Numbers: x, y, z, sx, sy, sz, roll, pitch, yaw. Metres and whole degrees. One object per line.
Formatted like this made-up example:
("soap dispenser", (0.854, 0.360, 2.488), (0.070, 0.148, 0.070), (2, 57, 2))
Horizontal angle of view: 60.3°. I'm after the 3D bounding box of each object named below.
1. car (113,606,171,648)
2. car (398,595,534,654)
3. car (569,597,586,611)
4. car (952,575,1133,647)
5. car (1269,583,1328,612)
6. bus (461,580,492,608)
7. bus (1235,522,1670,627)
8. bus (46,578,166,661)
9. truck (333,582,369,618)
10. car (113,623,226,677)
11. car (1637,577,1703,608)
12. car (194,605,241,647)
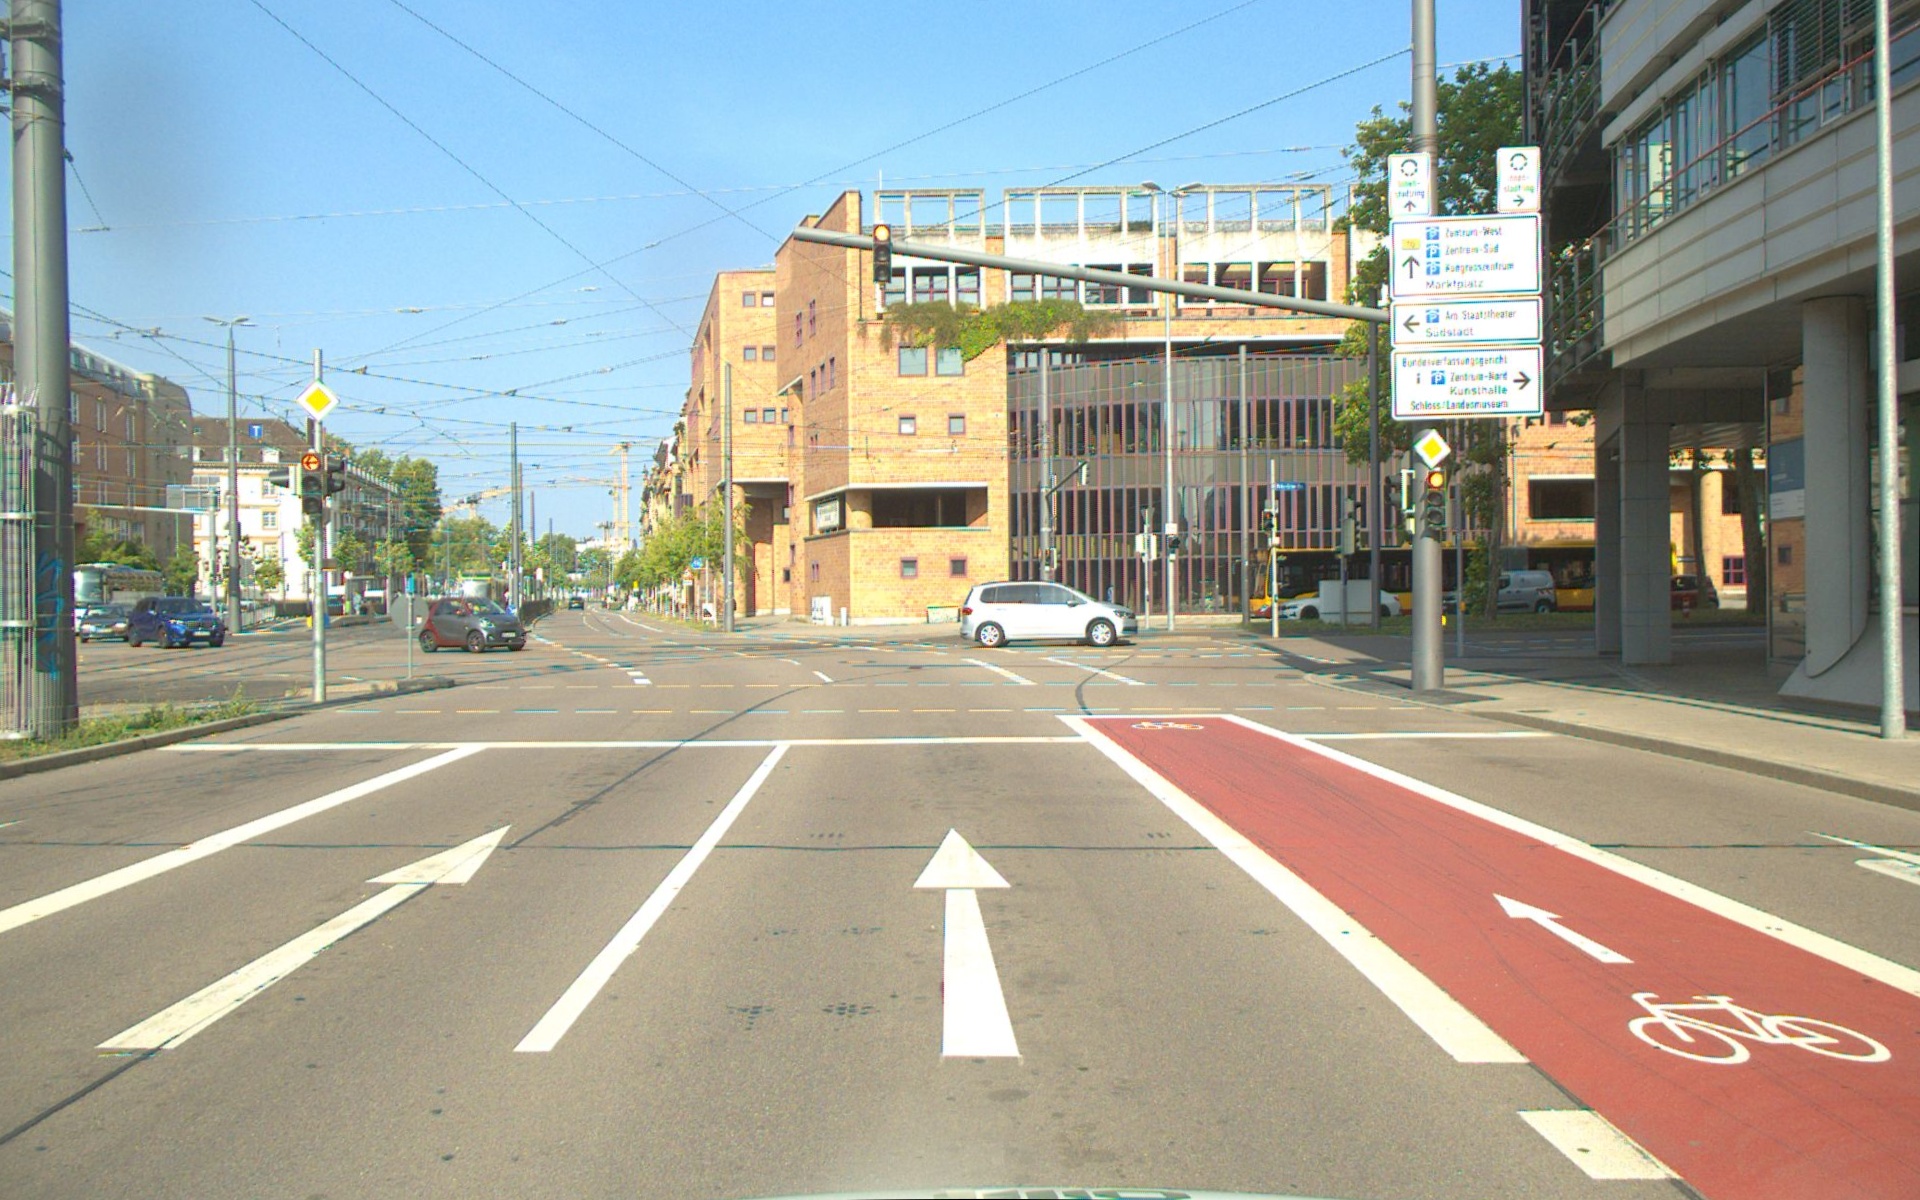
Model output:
("car", (-31.677, 1.063, 64.008), (1.970, 1.513, 4.183), (0, -1, -27))
("car", (-13.880, 0.712, 46.482), (3.524, 1.519, 1.699), (-2, -3, 30))
("car", (-46.545, 0.448, 201.197), (2.038, 1.569, 4.398), (-1, -1, -14))
("car", (2.068, 0.259, 40.915), (4.284, 1.663, 1.692), (-1, 2, 9))
("car", (12.331, -0.083, 60.320), (1.912, 0.975, 1.093), (1, -2, -3))
("bus", (-35.804, -0.463, 122.475), (1.959, 2.049, 3.987), (-1, 0, -13))
("bus", (19.683, -1.035, 65.948), (17.296, 3.877, 2.857), (-1, -1, -12))
("bus", (-44.202, 1.067, 86.039), (2.700, 3.990, 12.171), (-1, -1, -14))
("truck", (-45.951, -0.001, 124.896), (1.959, 2.644, 4.724), (-1, 0, -13))
("car", (-25.627, 1.615, 53.580), (4.339, 1.664, 1.978), (-2, -2, 45))
("car", (27.093, -0.292, 63.119), (2.195, 1.131, 0.722), (-1, -1, -6))
("car", (-36.804, 1.305, 82.030), (1.573, 2.049, 2.721), (-1, -1, -12))
